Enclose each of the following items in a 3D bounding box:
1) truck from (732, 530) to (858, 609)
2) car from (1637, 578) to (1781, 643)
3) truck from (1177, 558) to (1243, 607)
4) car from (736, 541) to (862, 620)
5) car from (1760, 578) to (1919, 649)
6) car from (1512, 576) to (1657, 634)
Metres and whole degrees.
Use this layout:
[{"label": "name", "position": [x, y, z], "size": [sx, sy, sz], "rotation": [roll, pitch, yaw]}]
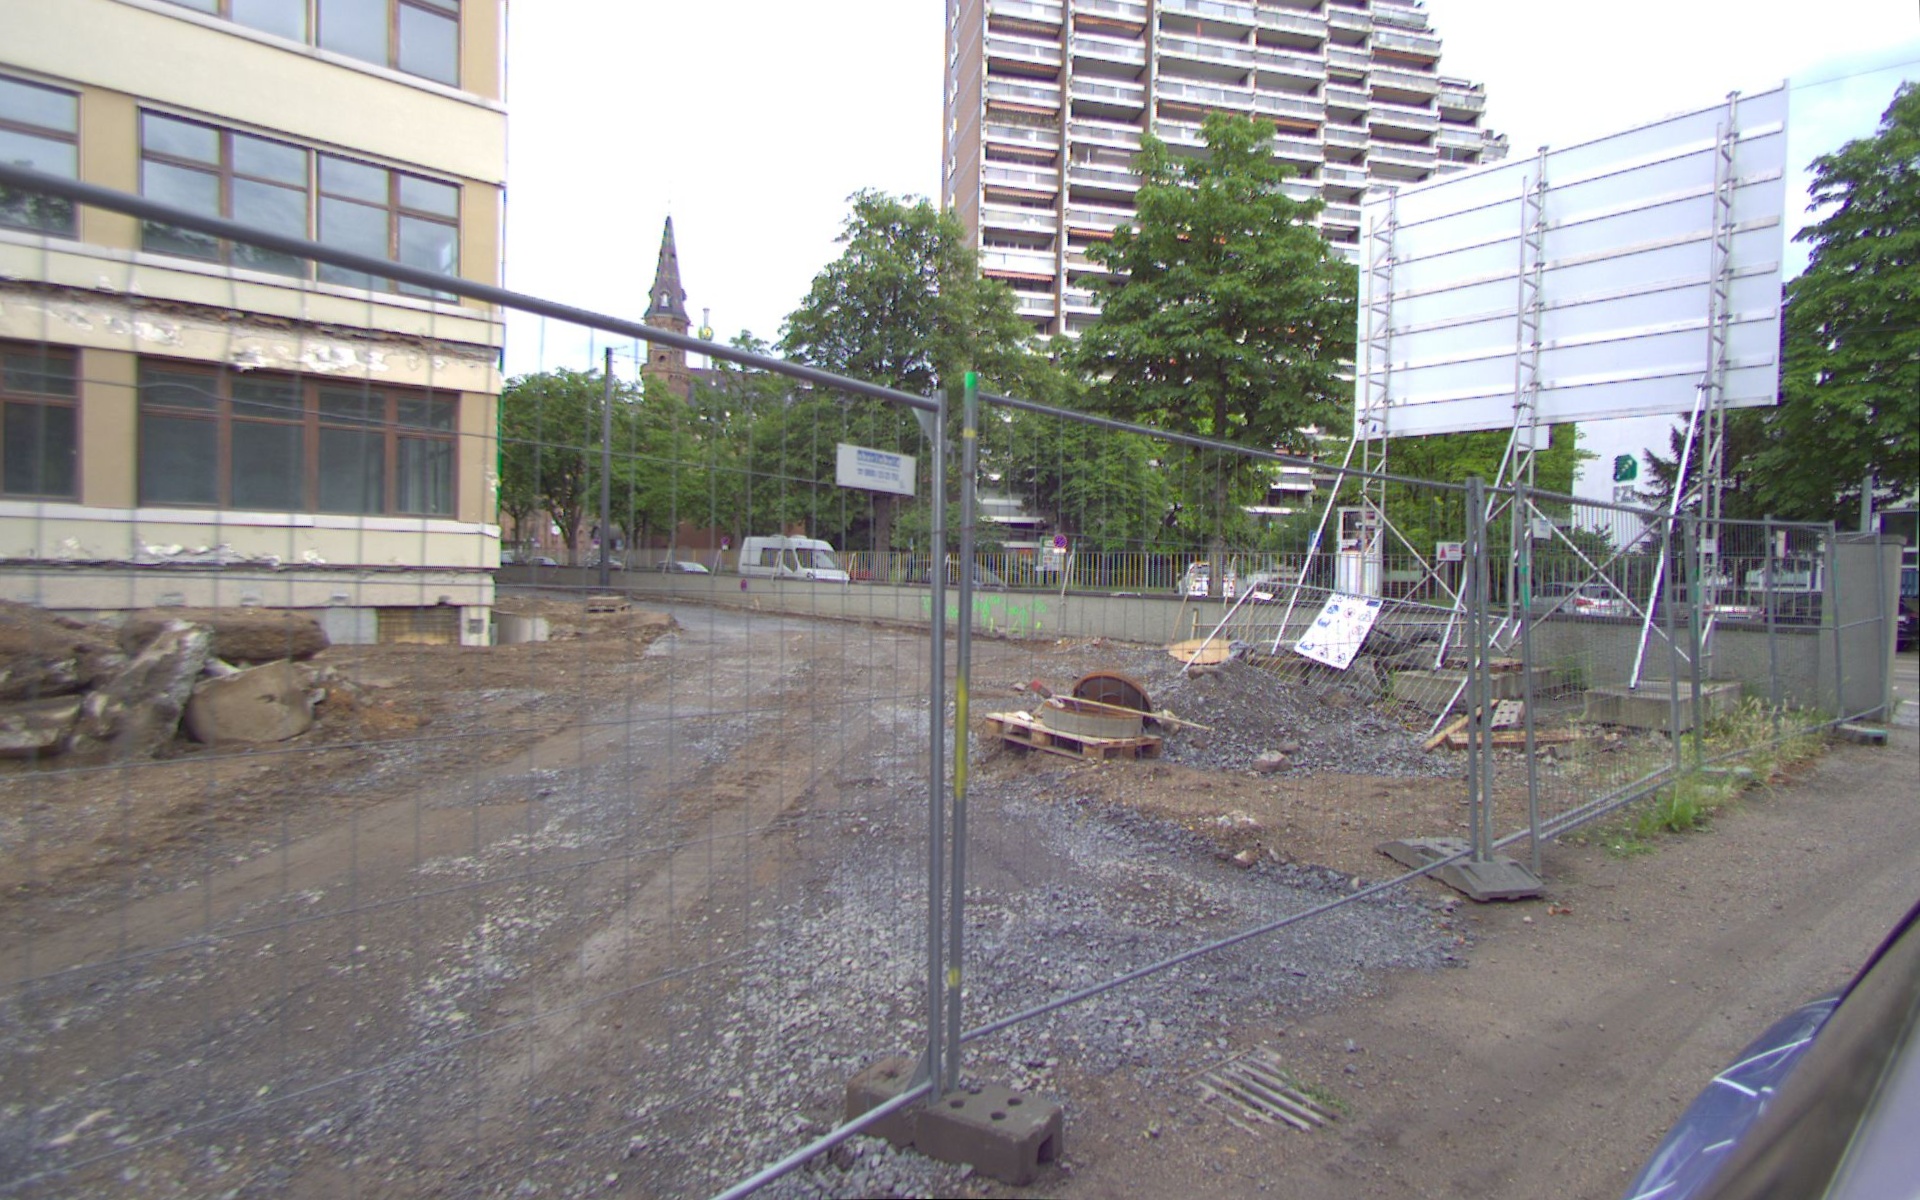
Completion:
[{"label": "truck", "position": [-6.079, -1.155, 36.705], "size": [2.081, 2.634, 5.488], "rotation": [-1, 3, -39]}, {"label": "car", "position": [20.619, 0.230, 28.049], "size": [1.546, 1.542, 3.647], "rotation": [1, 3, 6]}, {"label": "truck", "position": [10.230, -0.784, 41.788], "size": [1.965, 1.871, 5.058], "rotation": [1, 2, 6]}, {"label": "car", "position": [-5.935, -0.776, 36.681], "size": [2.081, 2.634, 5.488], "rotation": [-1, 3, -39]}, {"label": "car", "position": [22.453, 0.274, 25.641], "size": [1.671, 1.542, 3.701], "rotation": [1, 3, 6]}, {"label": "car", "position": [18.814, 0.077, 30.757], "size": [1.771, 1.482, 4.431], "rotation": [1, 3, 3]}]
